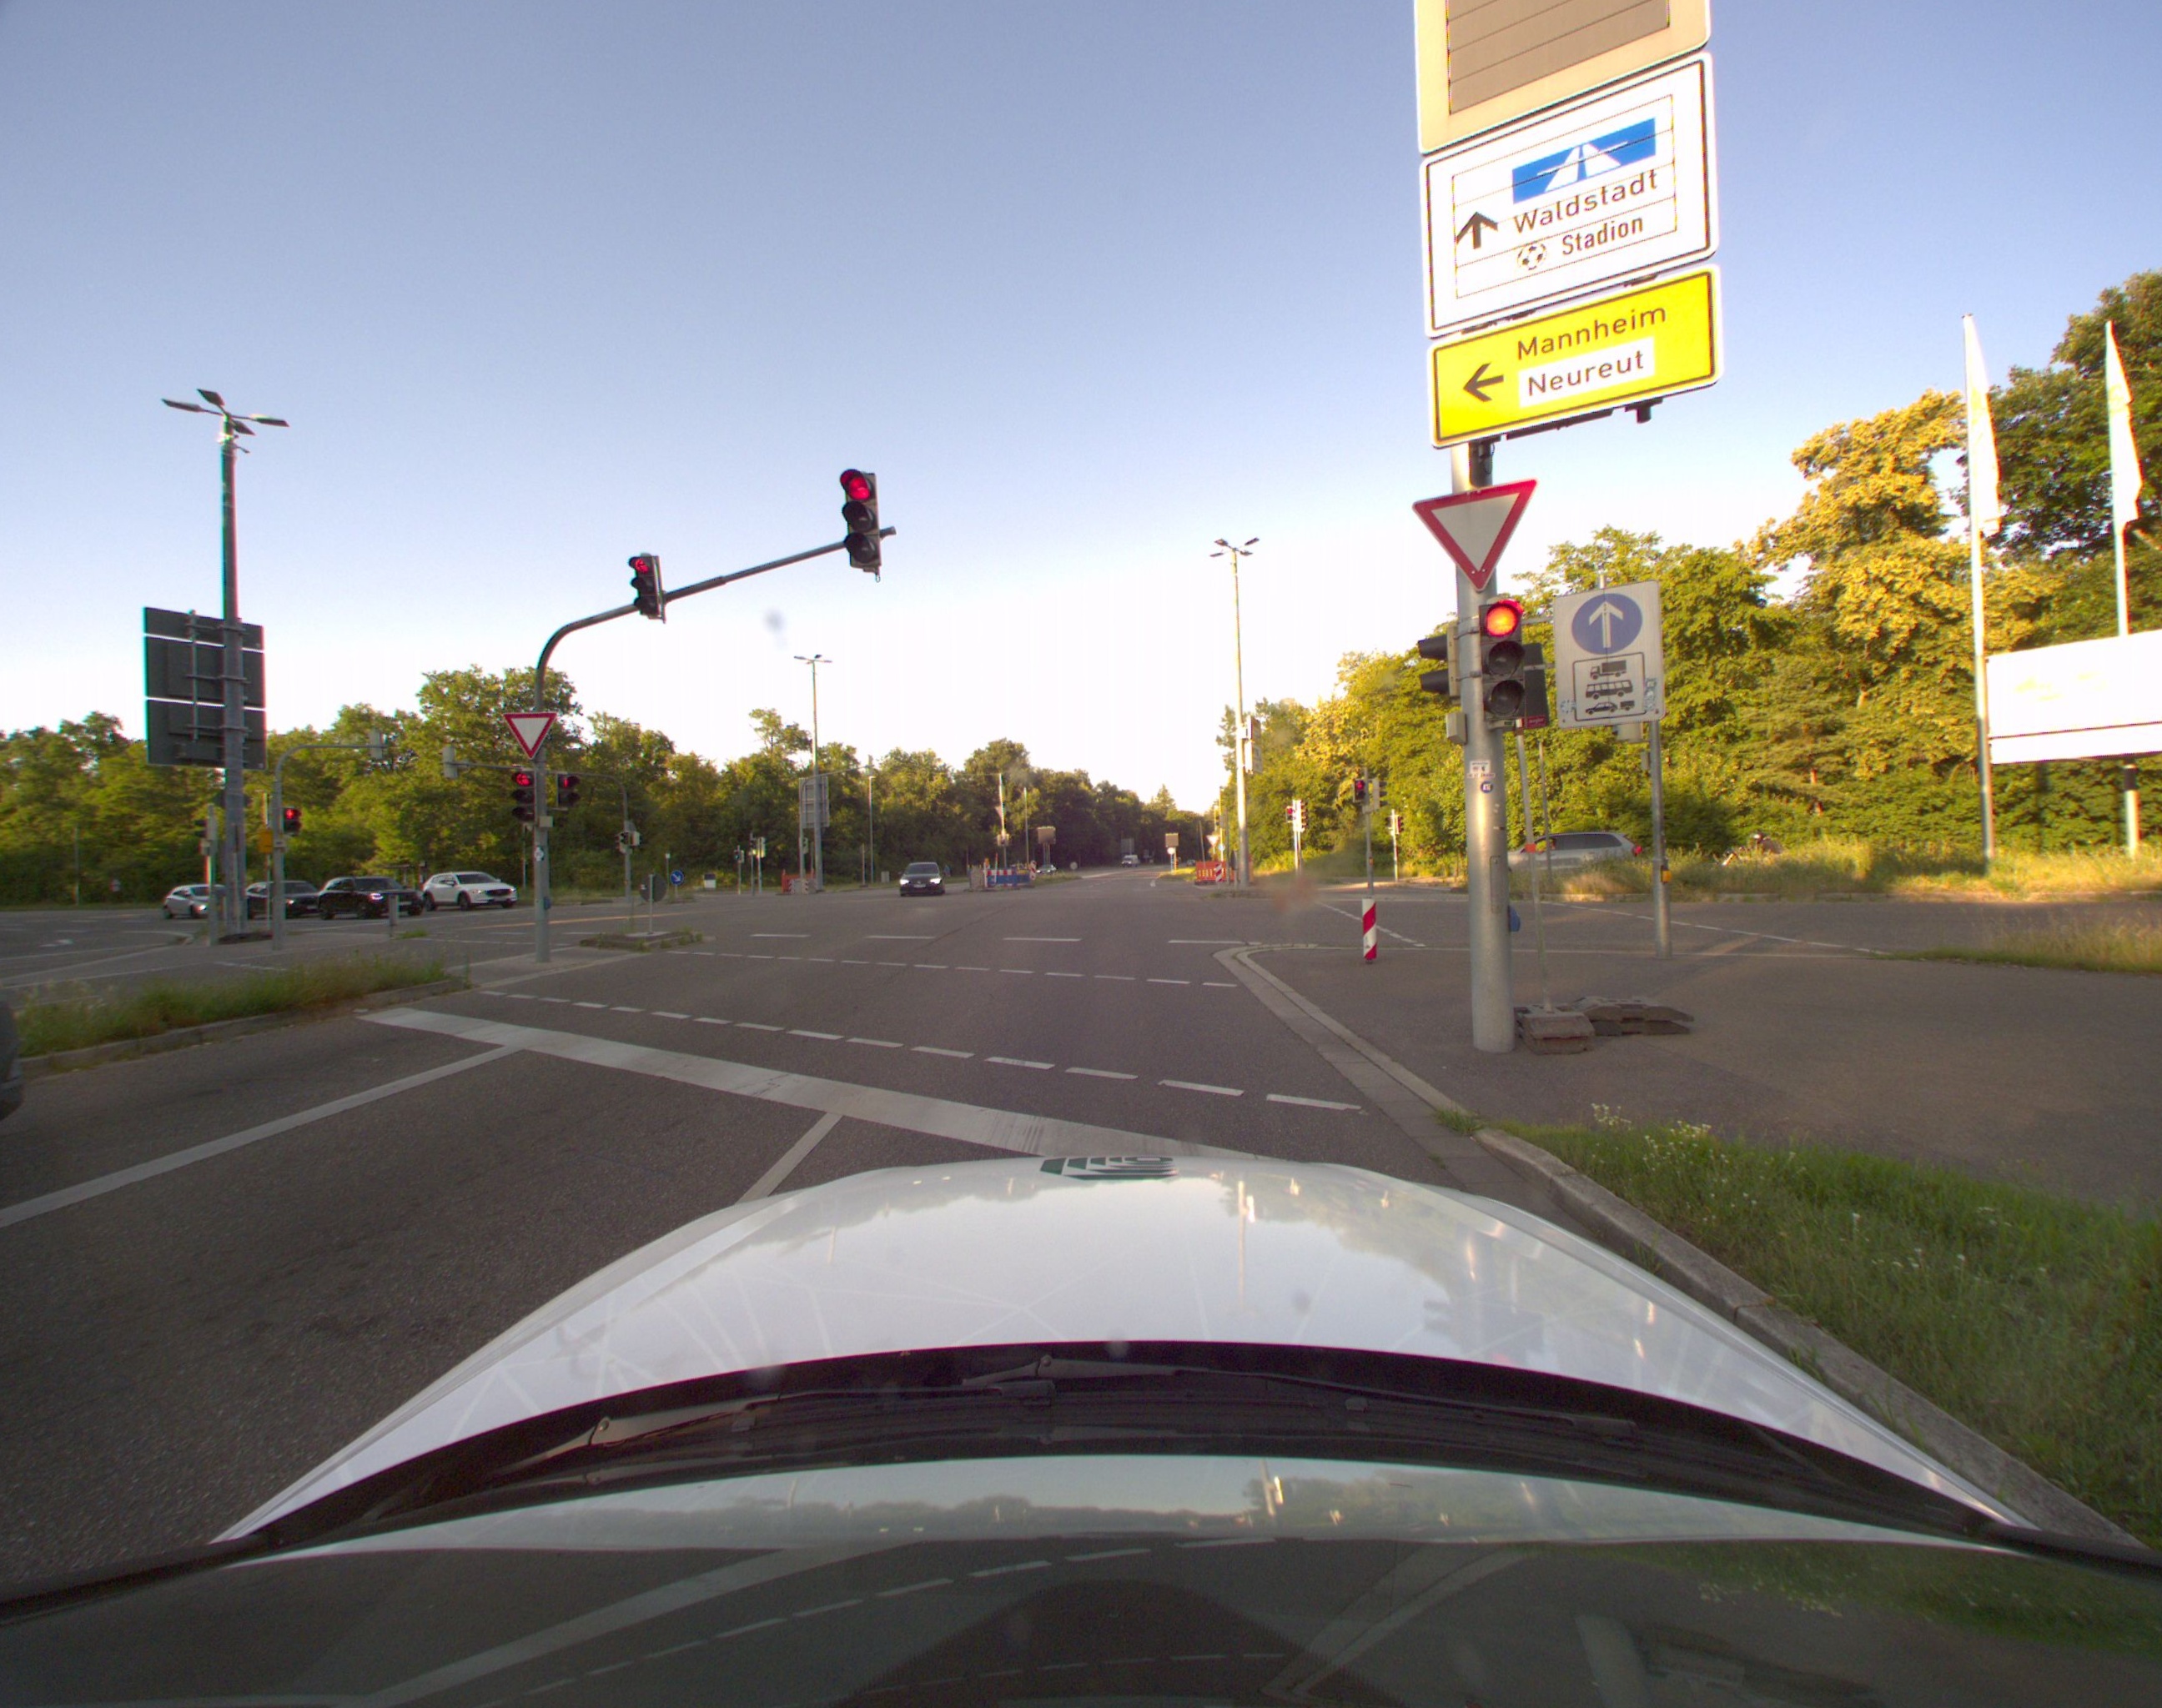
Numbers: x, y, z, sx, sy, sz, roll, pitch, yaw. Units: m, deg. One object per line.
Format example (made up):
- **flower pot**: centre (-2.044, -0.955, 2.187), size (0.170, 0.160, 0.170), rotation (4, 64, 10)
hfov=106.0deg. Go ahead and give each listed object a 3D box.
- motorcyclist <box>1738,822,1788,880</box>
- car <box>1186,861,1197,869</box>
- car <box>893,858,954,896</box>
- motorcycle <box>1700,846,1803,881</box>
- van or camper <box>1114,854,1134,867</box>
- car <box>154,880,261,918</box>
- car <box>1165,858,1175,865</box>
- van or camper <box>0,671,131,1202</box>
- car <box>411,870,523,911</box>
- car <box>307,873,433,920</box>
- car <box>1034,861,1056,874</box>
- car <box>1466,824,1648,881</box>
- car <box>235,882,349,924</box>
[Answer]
- **motorcyclist**: centre (19.272, -0.078, 23.036), size (0.878, 1.595, 0.658), rotation (-2, 0, 23)
- **car**: centre (23.749, 2.431, 175.343), size (1.979, 1.618, 4.015), rotation (-2, 0, 13)
- **car**: centre (-6.860, 0.966, 36.017), size (1.989, 1.530, 4.672), rotation (-2, 0, -3)
- **motorcycle**: centre (19.020, 0.271, 23.150), size (2.125, 0.910, 0.666), rotation (-2, 0, 23)
- **van or camper**: centre (9.415, 1.427, 178.212), size (2.864, 2.652, 7.151), rotation (-2, 0, 15)
- **car**: centre (-41.264, 2.139, 38.480), size (4.207, 1.640, 2.011), rotation (-2, 0, 21)
- **car**: centre (23.210, 1.876, 211.605), size (1.979, 1.640, 4.017), rotation (-3, 1, 15)
- **van or camper**: centre (-5.917, 0.393, 1.241), size (1.987, 2.421, 5.894), rotation (-2, 0, 0)
- **car**: centre (-26.766, 1.577, 35.502), size (4.206, 1.640, 2.011), rotation (-2, 0, 23)
- **car**: centre (-27.561, 1.640, 31.562), size (4.206, 1.640, 2.011), rotation (-2, 0, 23)
- **car**: centre (-4.629, 1.727, 104.880), size (1.982, 1.420, 4.010), rotation (-2, 0, 8)
- **car**: centre (15.023, -0.017, 26.074), size (4.773, 1.598, 2.011), rotation (-2, 0, 23)
- **car**: centre (-33.932, 2.089, 35.038), size (4.205, 1.640, 2.011), rotation (-2, 0, 23)
